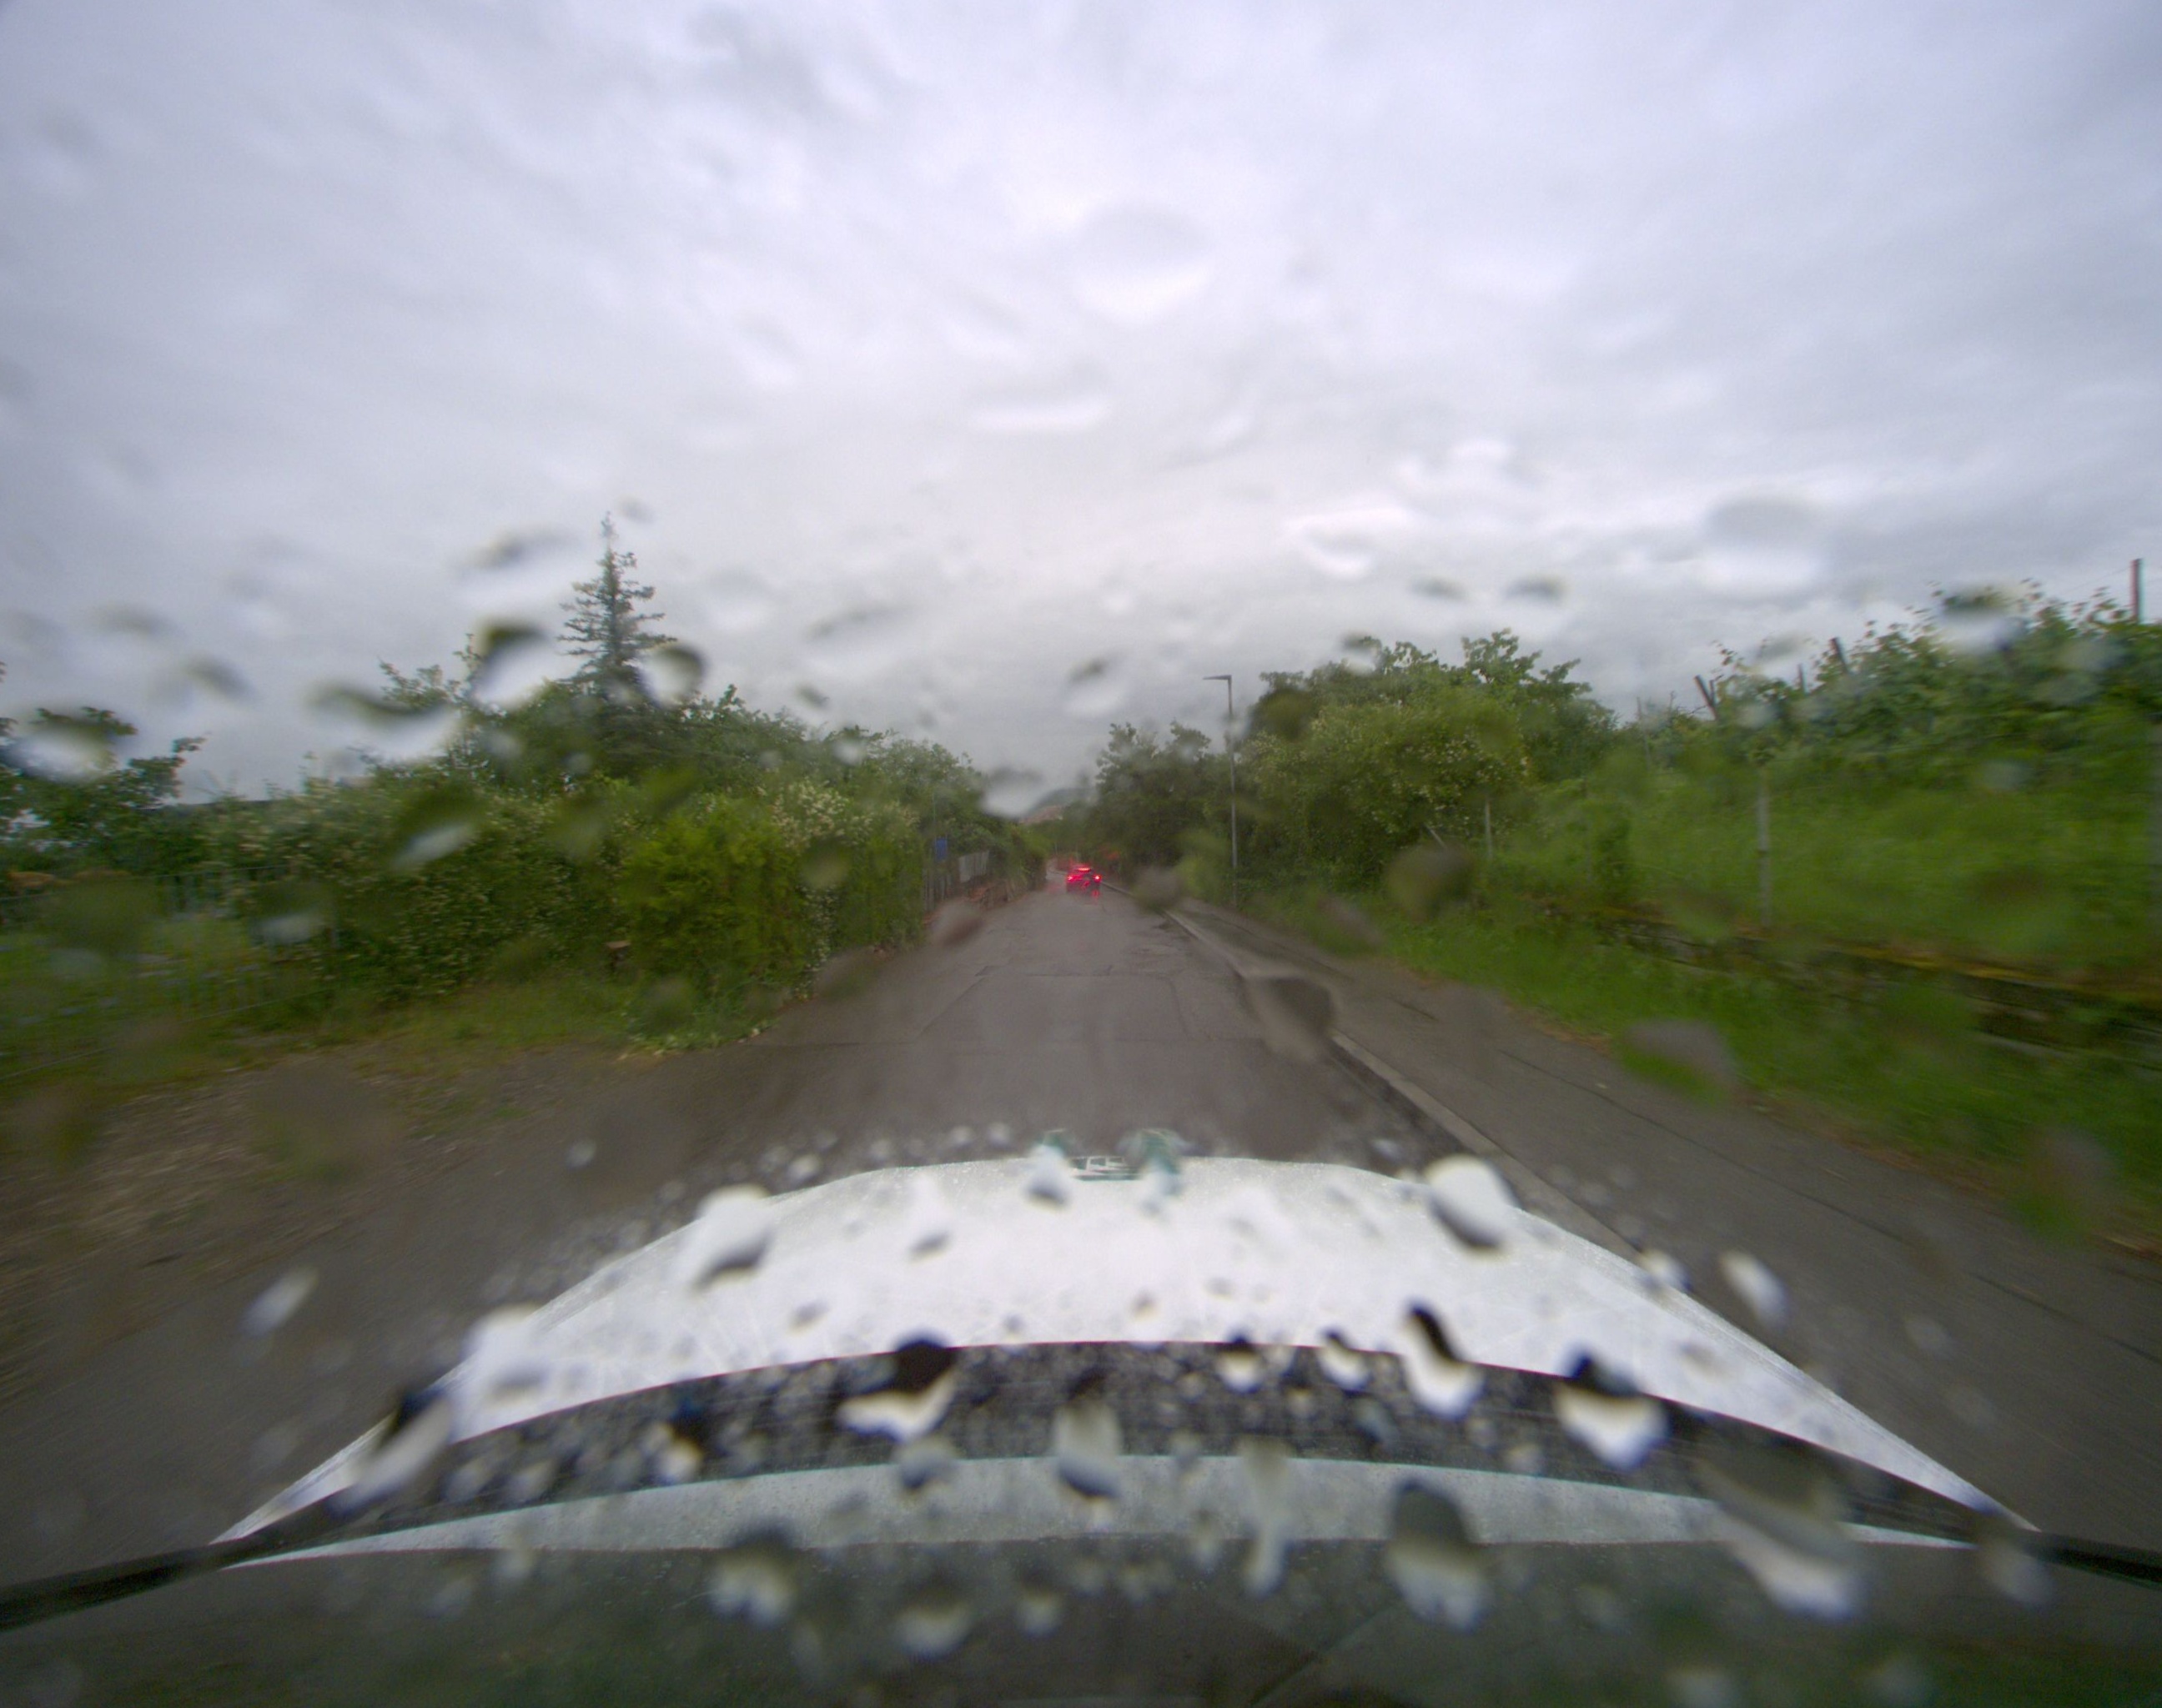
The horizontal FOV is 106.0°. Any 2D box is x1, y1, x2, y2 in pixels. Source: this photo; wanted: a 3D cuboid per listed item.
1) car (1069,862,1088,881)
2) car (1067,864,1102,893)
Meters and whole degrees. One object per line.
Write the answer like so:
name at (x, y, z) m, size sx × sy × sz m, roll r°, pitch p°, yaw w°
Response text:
car at (-0.214, 1.663, 77.573) m, size 1.672 × 1.565 × 3.795 m, roll -1°, pitch 1°, yaw 1°
car at (0.154, 1.317, 45.557) m, size 1.829 × 1.464 × 3.999 m, roll -1°, pitch 0°, yaw -1°
